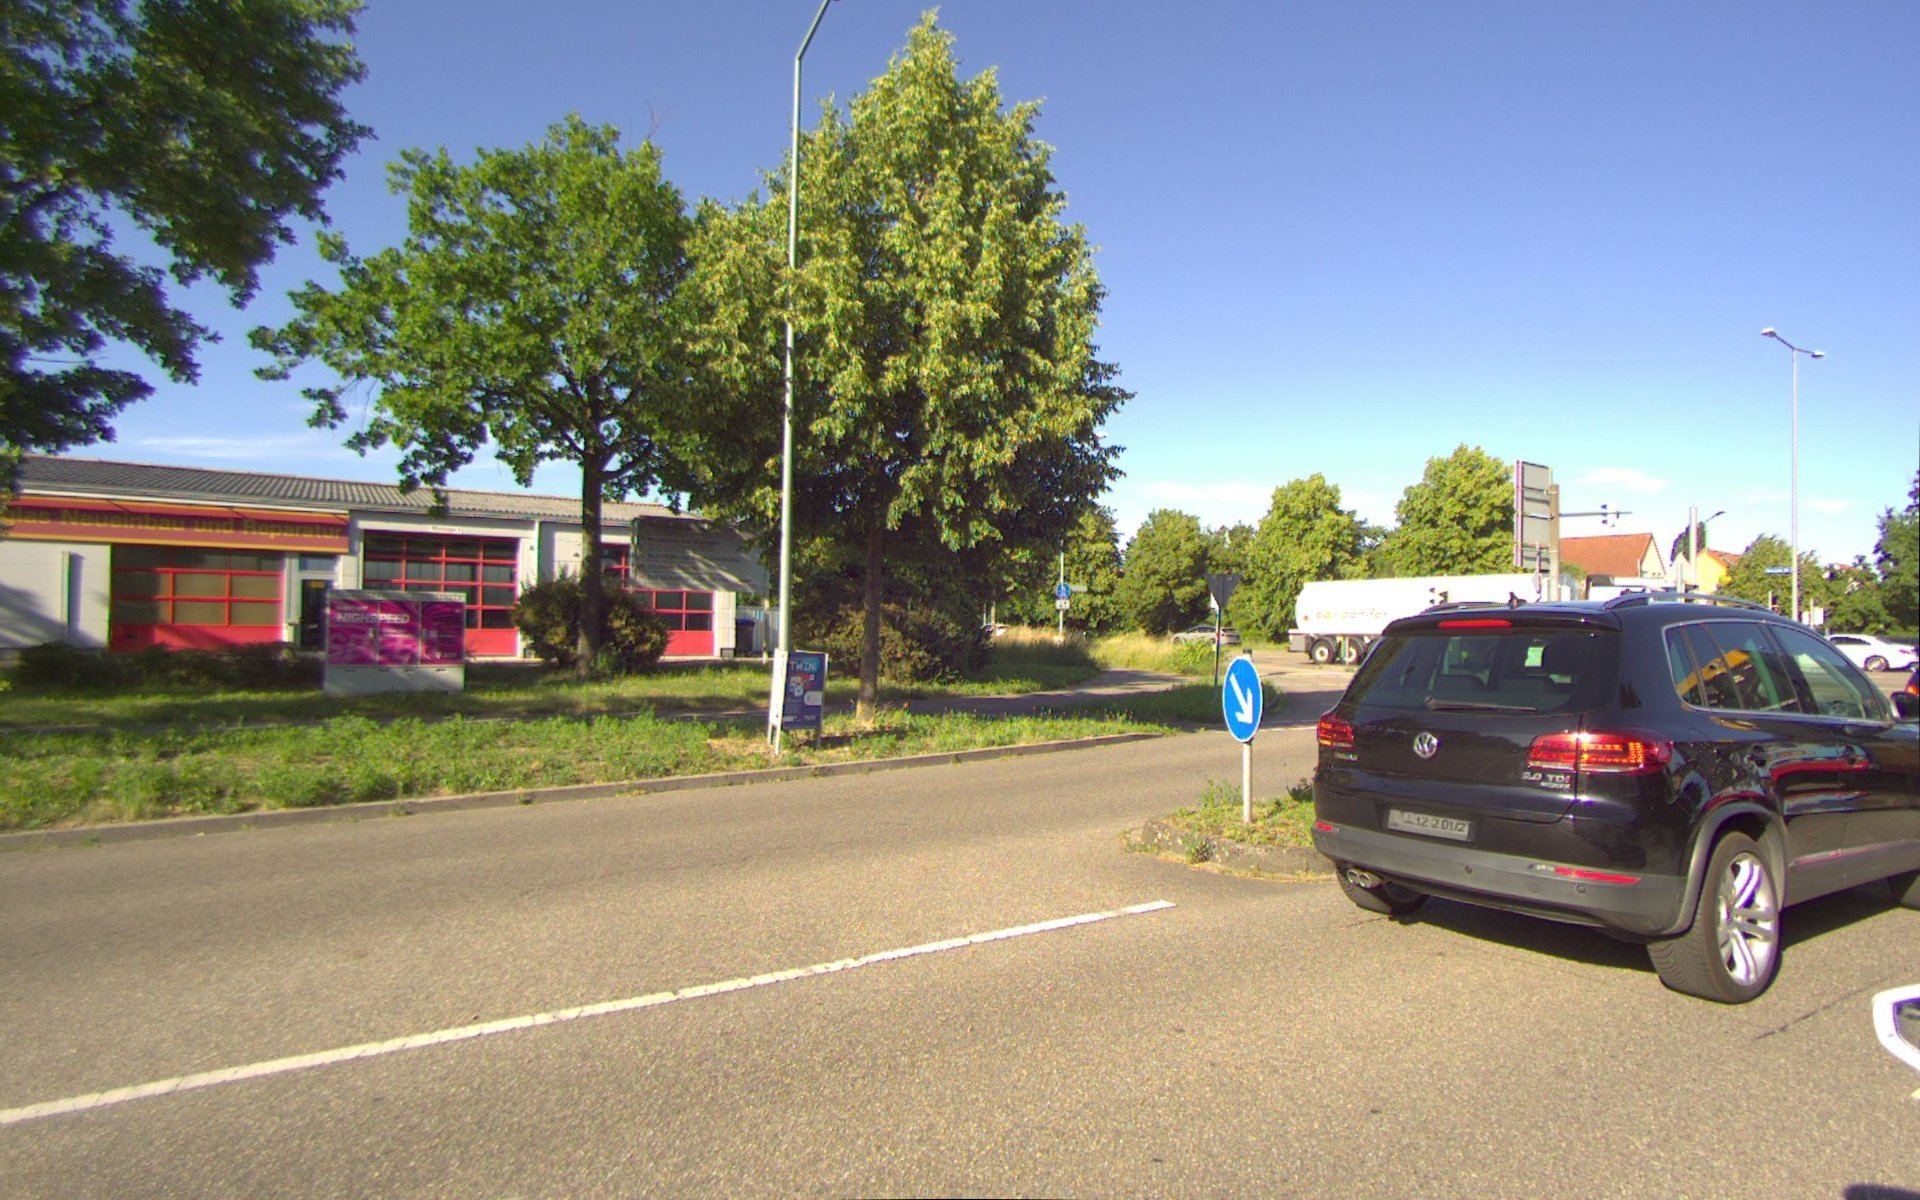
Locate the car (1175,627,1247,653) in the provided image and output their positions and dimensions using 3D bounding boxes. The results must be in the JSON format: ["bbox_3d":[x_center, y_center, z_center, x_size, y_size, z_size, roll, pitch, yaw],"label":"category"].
[{"bbox_3d":[16.018,2.548,64.279,1.561,1.479,4.379,2,-1,-38],"label":"car"}]

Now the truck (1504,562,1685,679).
[{"bbox_3d":[21.831,0.707,34.755,2.386,3.744,4.772,1,-1,-34],"label":"truck"}]

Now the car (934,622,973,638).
[{"bbox_3d":[-0.623,2.799,93.258,1.666,1.358,3.821,2,-1,-34],"label":"car"}]

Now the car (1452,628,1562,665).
[{"bbox_3d":[23.645,2.001,43.526,1.668,1.403,3.817,2,-1,-38],"label":"car"}]

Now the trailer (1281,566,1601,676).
[{"bbox_3d":[18.299,0.799,39.368,2.376,3.745,11.378,1,-2,-40],"label":"trailer"}]

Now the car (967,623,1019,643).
[{"bbox_3d":[2.675,2.687,82.823,1.979,1.560,4.675,2,-1,-33],"label":"car"}]

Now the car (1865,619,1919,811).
[{"bbox_3d":[10.236,0.988,9.226,3.986,1.642,1.745,0,-1,-30],"label":"car"}]

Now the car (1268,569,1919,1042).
[{"bbox_3d":[3.743,0.846,5.430,3.957,1.695,1.812,3,-3,-31],"label":"car"}]

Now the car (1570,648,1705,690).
[{"bbox_3d":[24.559,2.477,36.524,1.494,1.330,3.817,2,-2,-38],"label":"car"}]

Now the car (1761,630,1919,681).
[{"bbox_3d":[34.213,2.119,39.030,1.982,1.737,4.493,2,-1,-37],"label":"car"}]

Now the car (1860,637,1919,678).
[{"bbox_3d":[39.919,2.366,41.377,1.678,1.633,3.961,2,-2,-35],"label":"car"}]
